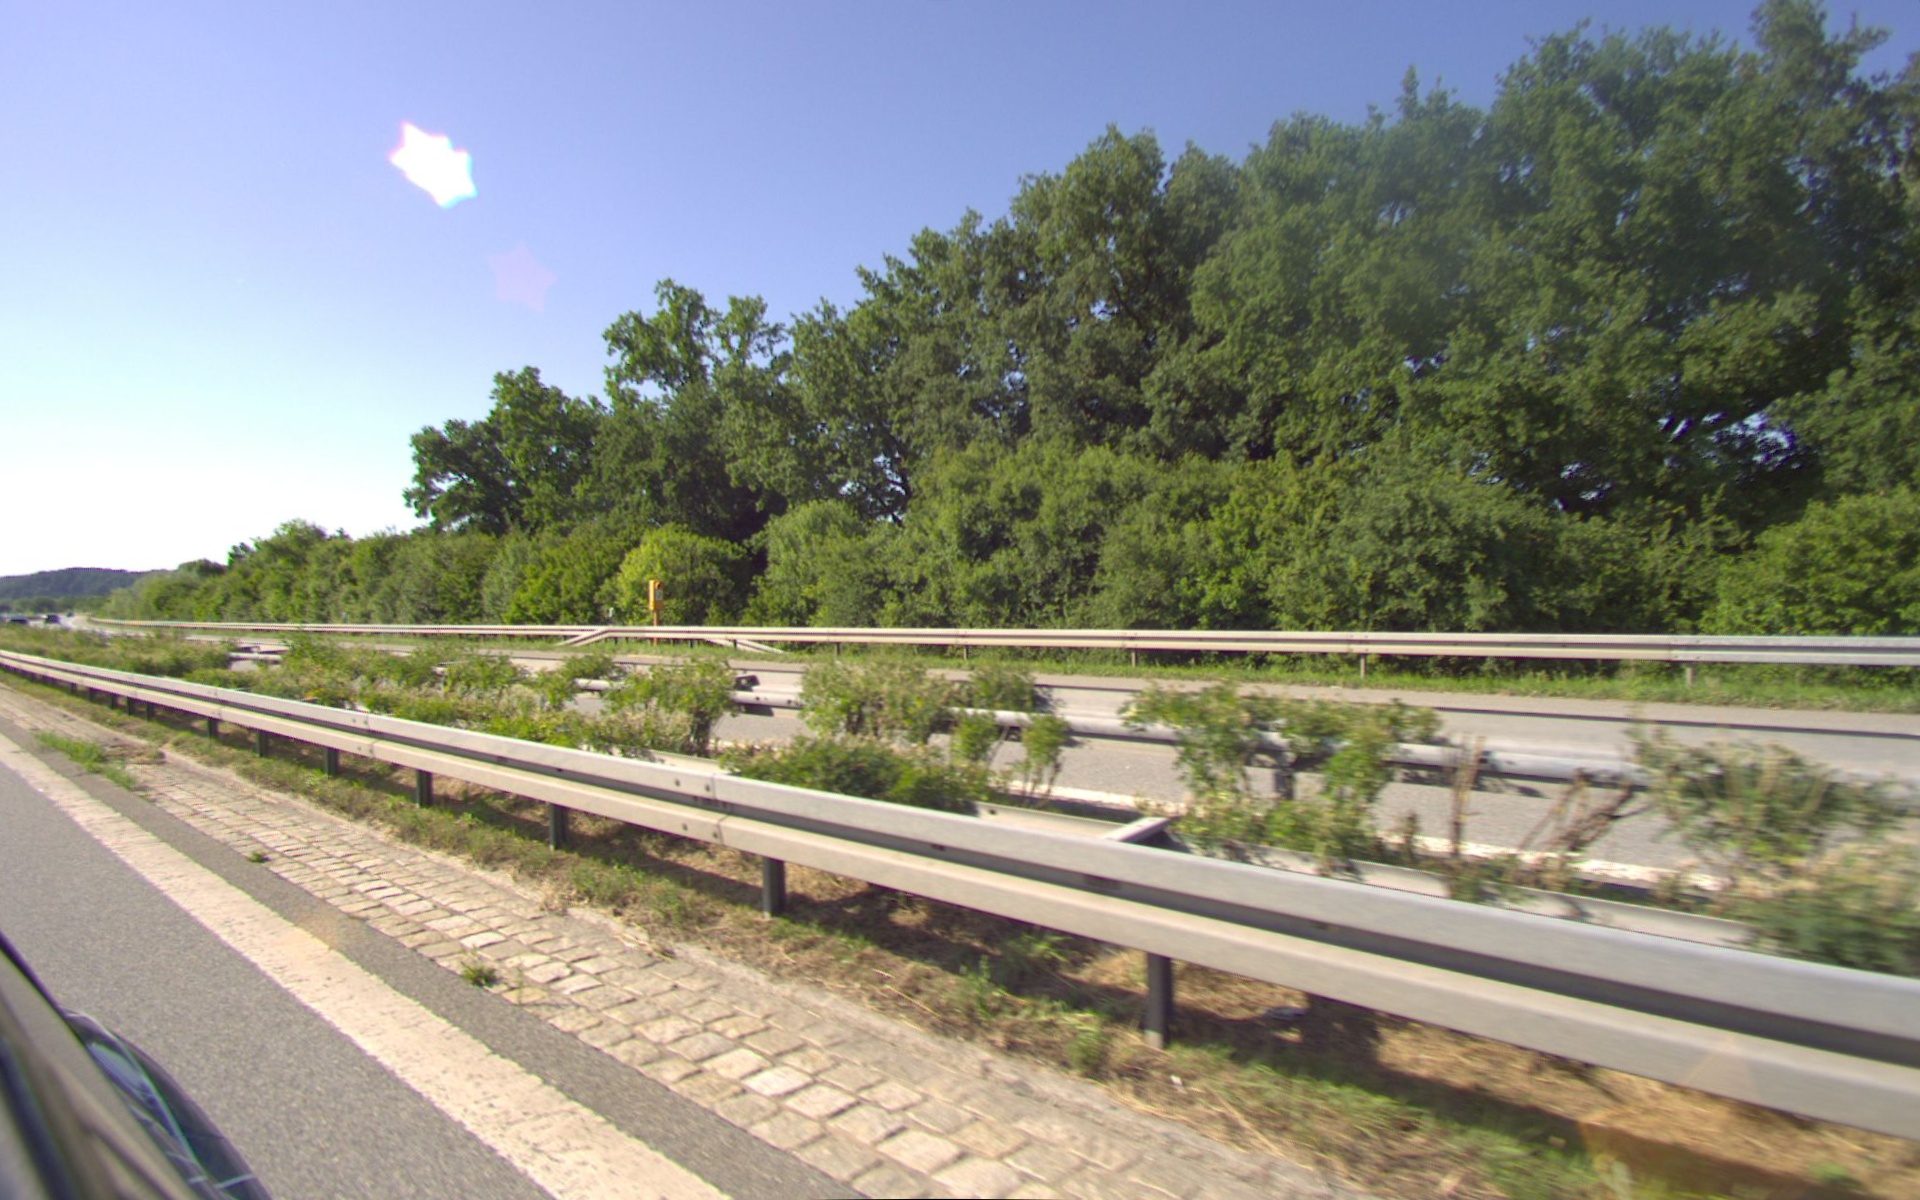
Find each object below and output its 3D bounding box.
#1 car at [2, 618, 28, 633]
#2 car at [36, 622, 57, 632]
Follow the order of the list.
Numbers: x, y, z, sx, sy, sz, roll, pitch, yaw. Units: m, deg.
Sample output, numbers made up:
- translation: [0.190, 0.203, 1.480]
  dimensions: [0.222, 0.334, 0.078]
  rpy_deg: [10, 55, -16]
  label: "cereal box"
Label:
- translation: [-95.200, 2.563, 101.936]
  dimensions: [3.883, 1.439, 1.709]
  rpy_deg: [-1, -2, 45]
  label: "car"
- translation: [-135.039, 3.928, 149.642]
  dimensions: [4.487, 1.443, 1.971]
  rpy_deg: [-2, -2, 44]
  label: "car"
